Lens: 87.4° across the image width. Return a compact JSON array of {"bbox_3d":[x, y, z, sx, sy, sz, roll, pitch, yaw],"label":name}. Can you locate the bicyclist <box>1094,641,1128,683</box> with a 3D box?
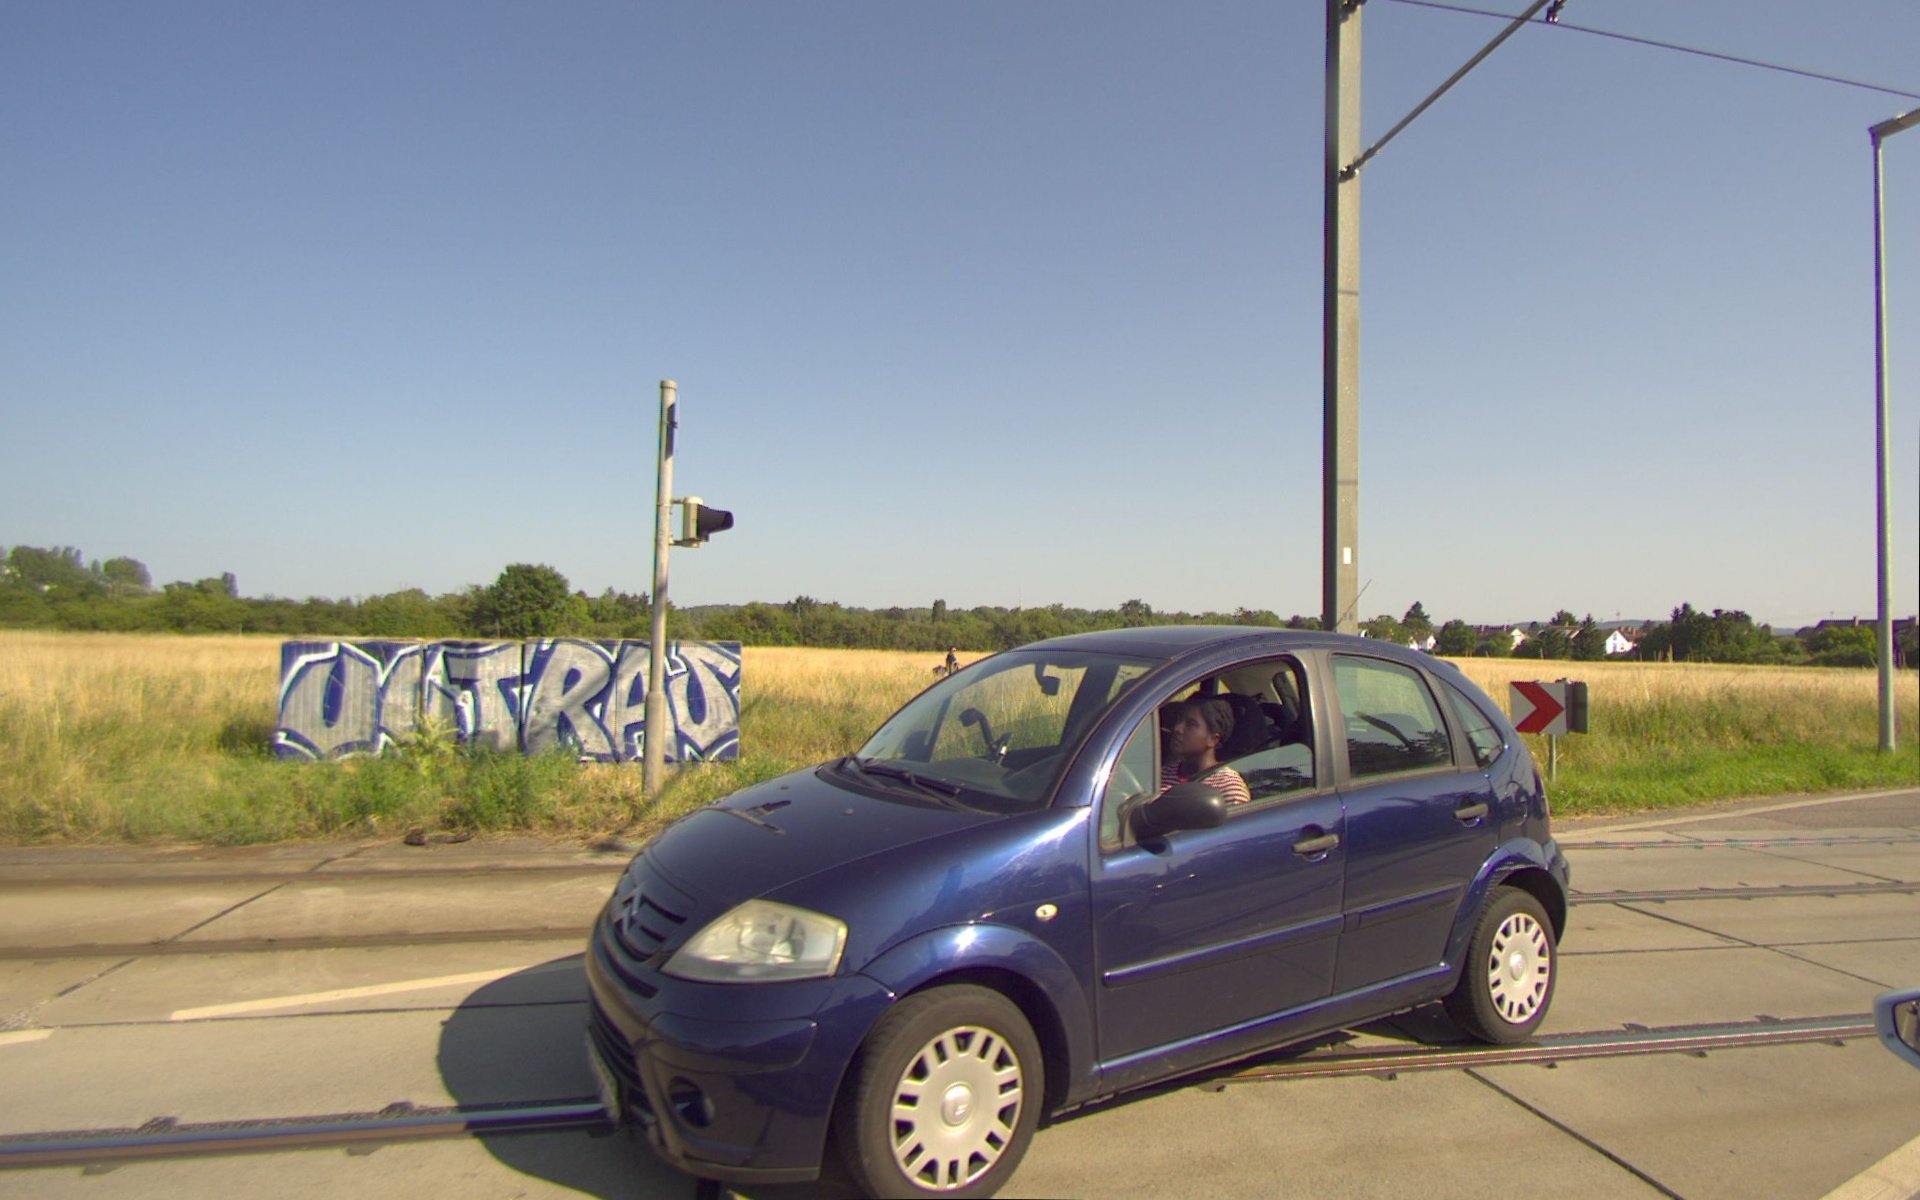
[{"bbox_3d":[4.550,1.869,30.334,0.776,1.221,0.746,2,-1,-12],"label":"bicyclist"}]

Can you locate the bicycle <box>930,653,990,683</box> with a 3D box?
[{"bbox_3d":[-0.003,2.042,30.132,1.706,0.850,0.613,2,-1,-12],"label":"bicycle"}]

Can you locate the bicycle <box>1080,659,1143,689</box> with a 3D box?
[{"bbox_3d":[4.571,2.233,30.342,1.706,0.850,0.751,2,-1,-12],"label":"bicycle"}]

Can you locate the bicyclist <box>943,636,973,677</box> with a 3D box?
[{"bbox_3d":[-0.063,1.688,30.128,0.776,1.221,0.603,2,-1,-12],"label":"bicyclist"}]

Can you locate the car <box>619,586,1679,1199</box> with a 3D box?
[{"bbox_3d":[0.898,0.839,3.910,3.953,1.513,1.616,3,-3,-30],"label":"car"}]
